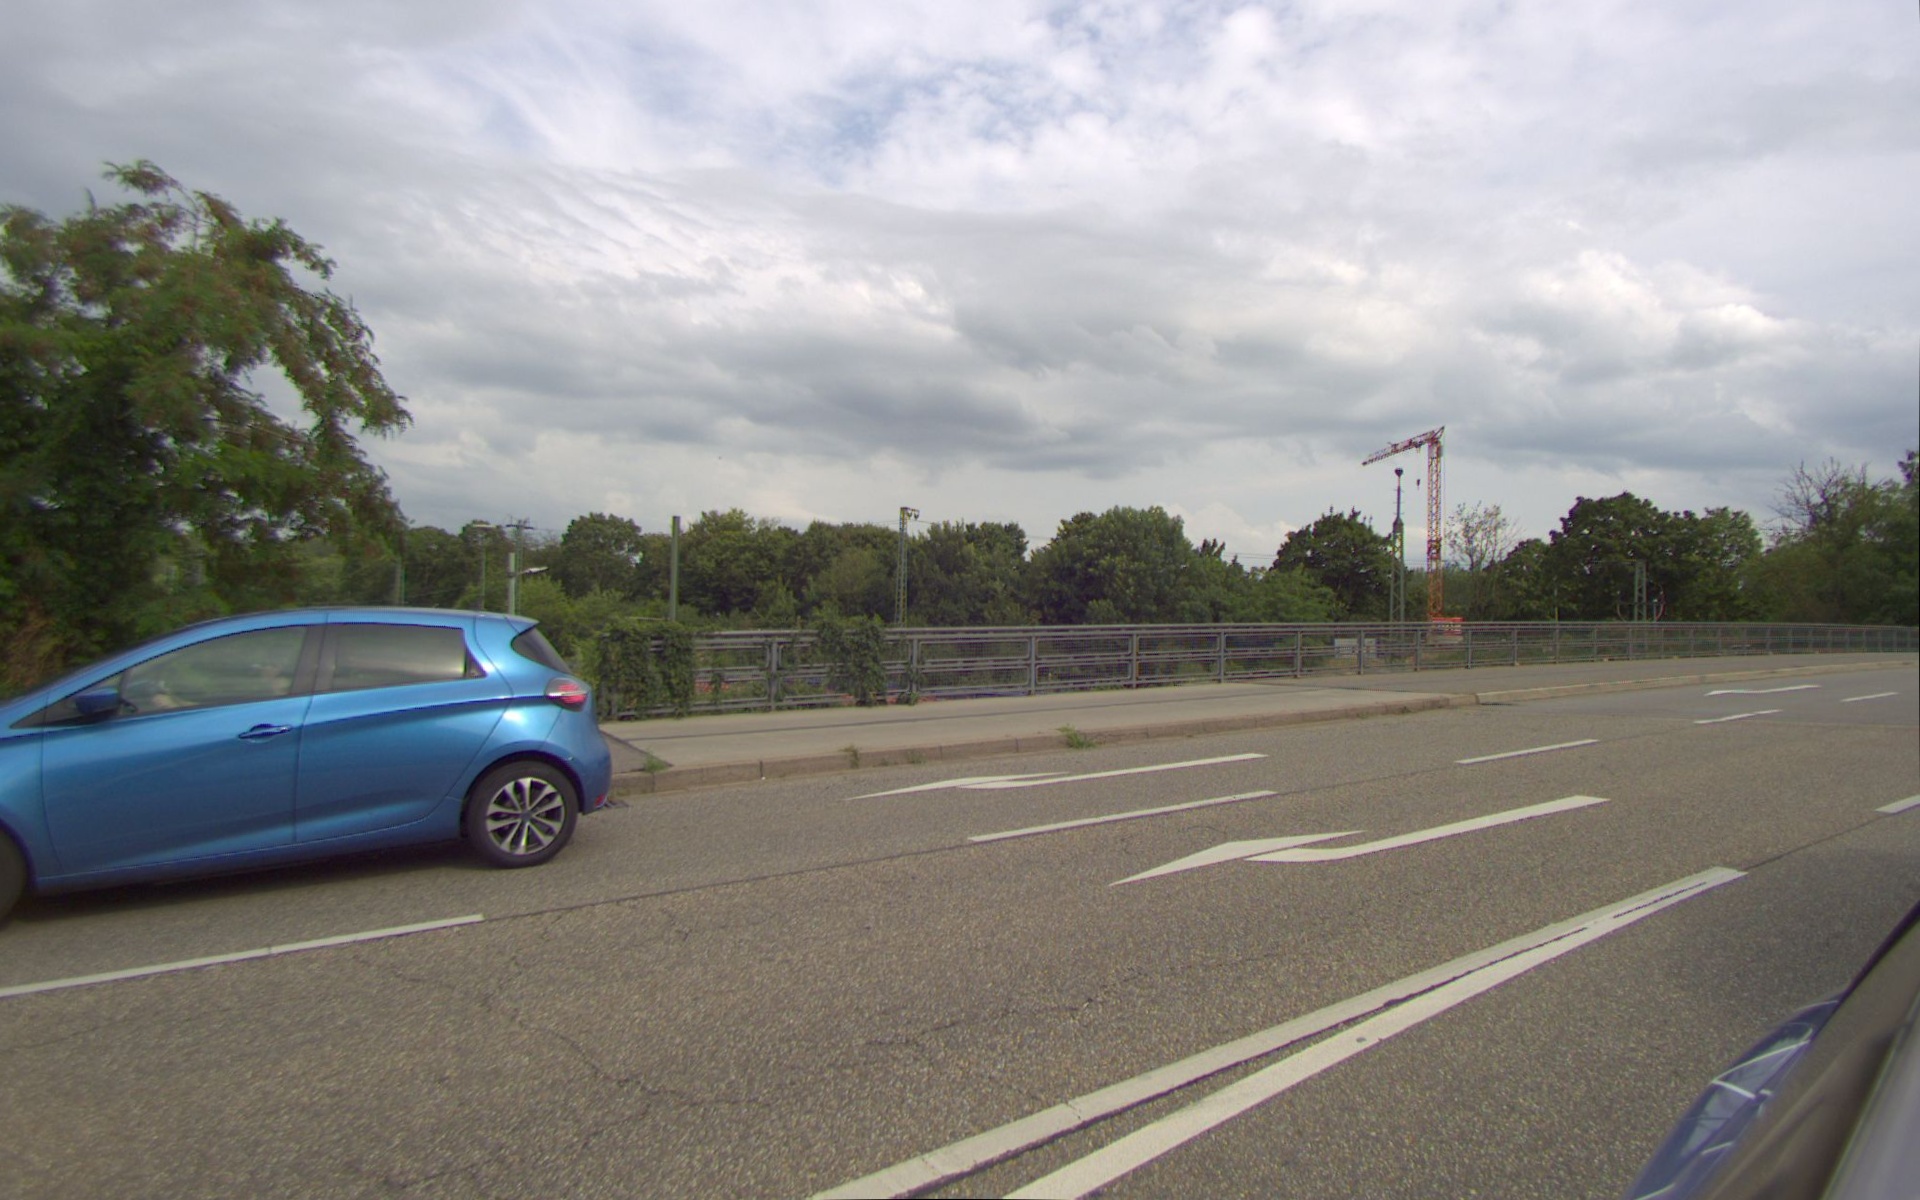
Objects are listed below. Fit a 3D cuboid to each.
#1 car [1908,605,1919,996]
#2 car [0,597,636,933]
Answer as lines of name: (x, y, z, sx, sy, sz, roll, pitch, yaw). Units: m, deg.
car: (5.794, 0.704, 4.156, 4.639, 1.381, 1.854, 0, 0, -35)
car: (-4.110, 0.787, 5.951, 3.874, 1.541, 1.726, 0, -2, -34)
